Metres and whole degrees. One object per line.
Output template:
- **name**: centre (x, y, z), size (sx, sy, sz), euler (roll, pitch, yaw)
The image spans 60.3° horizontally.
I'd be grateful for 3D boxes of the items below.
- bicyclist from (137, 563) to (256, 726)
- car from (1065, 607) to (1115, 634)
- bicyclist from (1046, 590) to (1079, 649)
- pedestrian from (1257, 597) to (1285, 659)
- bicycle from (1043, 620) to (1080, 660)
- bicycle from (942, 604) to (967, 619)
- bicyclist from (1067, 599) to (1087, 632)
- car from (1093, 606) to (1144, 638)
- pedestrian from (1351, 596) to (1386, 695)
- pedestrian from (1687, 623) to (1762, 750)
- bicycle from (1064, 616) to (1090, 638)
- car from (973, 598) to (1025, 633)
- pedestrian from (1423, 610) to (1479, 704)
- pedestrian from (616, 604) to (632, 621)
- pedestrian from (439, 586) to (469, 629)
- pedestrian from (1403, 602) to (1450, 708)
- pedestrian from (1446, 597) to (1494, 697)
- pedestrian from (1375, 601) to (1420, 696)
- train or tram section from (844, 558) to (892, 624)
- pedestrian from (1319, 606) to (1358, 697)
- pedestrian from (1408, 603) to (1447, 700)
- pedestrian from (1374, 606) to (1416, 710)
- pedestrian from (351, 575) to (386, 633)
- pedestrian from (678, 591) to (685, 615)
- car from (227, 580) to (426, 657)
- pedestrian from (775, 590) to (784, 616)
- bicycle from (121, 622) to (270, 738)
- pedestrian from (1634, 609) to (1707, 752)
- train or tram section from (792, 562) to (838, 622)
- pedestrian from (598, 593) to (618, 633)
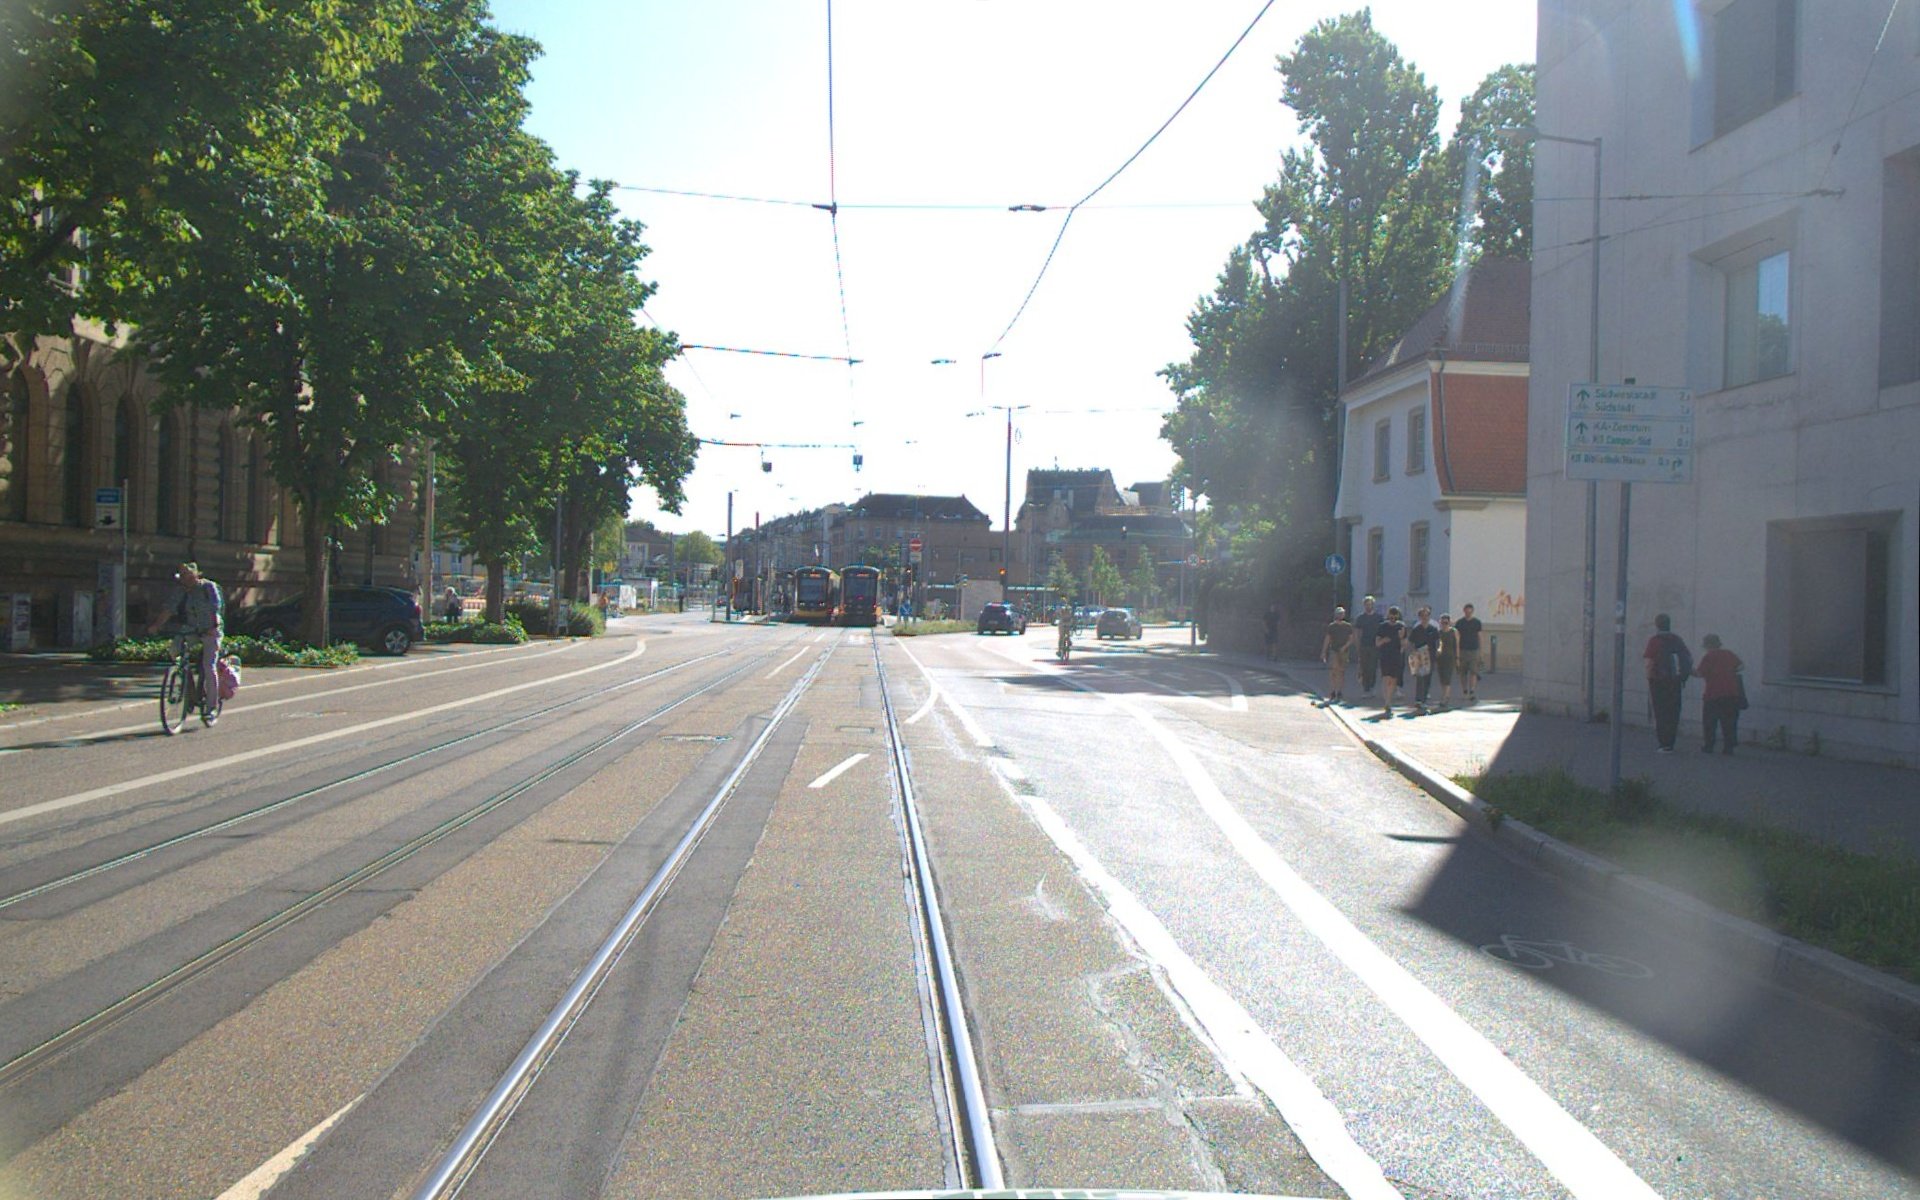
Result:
- **bicyclist**: centre (-8.133, 0.457, 17.660), size (0.672, 1.673, 1.237), euler (-1, 0, 1)
- **car**: centre (8.391, 1.331, 106.701), size (1.671, 1.672, 3.703), euler (3, 0, 31)
- **bicyclist**: centre (3.092, 0.587, 49.767), size (0.690, 1.704, 1.102), euler (3, 0, 16)
- **pedestrian**: centre (9.865, 0.877, 52.504), size (0.625, 1.937, 1.134), euler (-1, 0, -2)
- **bicycle**: centre (3.061, 1.200, 49.769), size (0.690, 1.124, 1.718), euler (3, 0, 16)
- **bicycle**: centre (-0.433, 0.888, 126.891), size (1.896, 1.122, 0.598), euler (1, 0, -6)
- **bicyclist**: centre (6.153, 0.811, 86.924), size (0.690, 1.730, 0.987), euler (3, 1, 21)
- **car**: centre (8.217, 1.126, 85.513), size (1.752, 1.537, 3.713), euler (3, 0, 19)
- **pedestrian**: centre (8.117, 0.902, 32.879), size (0.507, 1.935, 0.612), euler (-2, 0, 5)
- **pedestrian**: centre (8.881, 0.987, 19.231), size (0.507, 1.429, 0.764), euler (1, 0, 0)
- **bicycle**: centre (6.169, 1.406, 87.058), size (0.690, 1.073, 2.313), euler (4, 1, 21)
- **car**: centre (2.013, 0.769, 83.872), size (1.751, 1.632, 3.715), euler (3, 0, 15)
- **pedestrian**: centre (8.862, 1.022, 29.860), size (0.811, 1.632, 0.894), euler (-3, 0, 11)
- **pedestrian**: centre (-21.784, 0.802, 107.163), size (0.879, 1.065, 0.655), euler (1, 0, -3)
- **pedestrian**: centre (-18.171, 0.275, 59.406), size (0.909, 1.531, 0.700), euler (2, 0, -26)
- **pedestrian**: centre (8.185, 0.955, 29.024), size (0.633, 1.793, 0.957), euler (-3, 0, 11)
- **pedestrian**: centre (9.619, 0.872, 31.213), size (0.643, 1.834, 0.732), euler (-2, 0, 5)
- **pedestrian**: centre (8.527, 0.938, 32.252), size (0.519, 1.805, 0.733), euler (-3, -1, 37)
- **train or tram section**: centre (-5.769, -0.570, 101.911), size (2.688, 3.715, 13.774), euler (1, 0, -4)
- **pedestrian**: centre (7.523, 1.013, 32.865), size (0.593, 1.777, 0.718), euler (-2, 0, 5)
- **pedestrian**: centre (9.034, 0.987, 31.956), size (0.597, 1.805, 0.653), euler (-3, 0, 13)
- **pedestrian**: centre (7.618, 1.005, 28.987), size (0.484, 1.758, 0.816), euler (-3, 0, 3)
- **pedestrian**: centre (-17.391, 0.119, 48.651), size (0.687, 1.663, 0.759), euler (4, 0, -4)
- **pedestrian**: centre (-23.899, 0.288, 141.858), size (0.514, 2.049, 0.522), euler (1, 0, 1)
- **car**: centre (-14.389, 0.424, 37.614), size (3.946, 1.577, 1.858), euler (3, -1, -31)
- **pedestrian**: centre (-13.216, 0.215, 121.213), size (0.614, 1.859, 0.662), euler (1, 0, -4)
- **bicycle**: centre (-8.128, 0.824, 17.677), size (0.672, 1.144, 1.931), euler (-1, 0, 1)
- **pedestrian**: centre (8.296, 0.927, 19.331), size (0.507, 1.628, 0.764), euler (1, 0, 0)
- **train or tram section**: centre (-9.572, -0.542, 110.095), size (2.688, 3.715, 13.774), euler (1, 0, -4)
- **pedestrian**: centre (-15.214, 0.545, 71.498), size (0.628, 1.726, 0.812), euler (0, 0, -27)
